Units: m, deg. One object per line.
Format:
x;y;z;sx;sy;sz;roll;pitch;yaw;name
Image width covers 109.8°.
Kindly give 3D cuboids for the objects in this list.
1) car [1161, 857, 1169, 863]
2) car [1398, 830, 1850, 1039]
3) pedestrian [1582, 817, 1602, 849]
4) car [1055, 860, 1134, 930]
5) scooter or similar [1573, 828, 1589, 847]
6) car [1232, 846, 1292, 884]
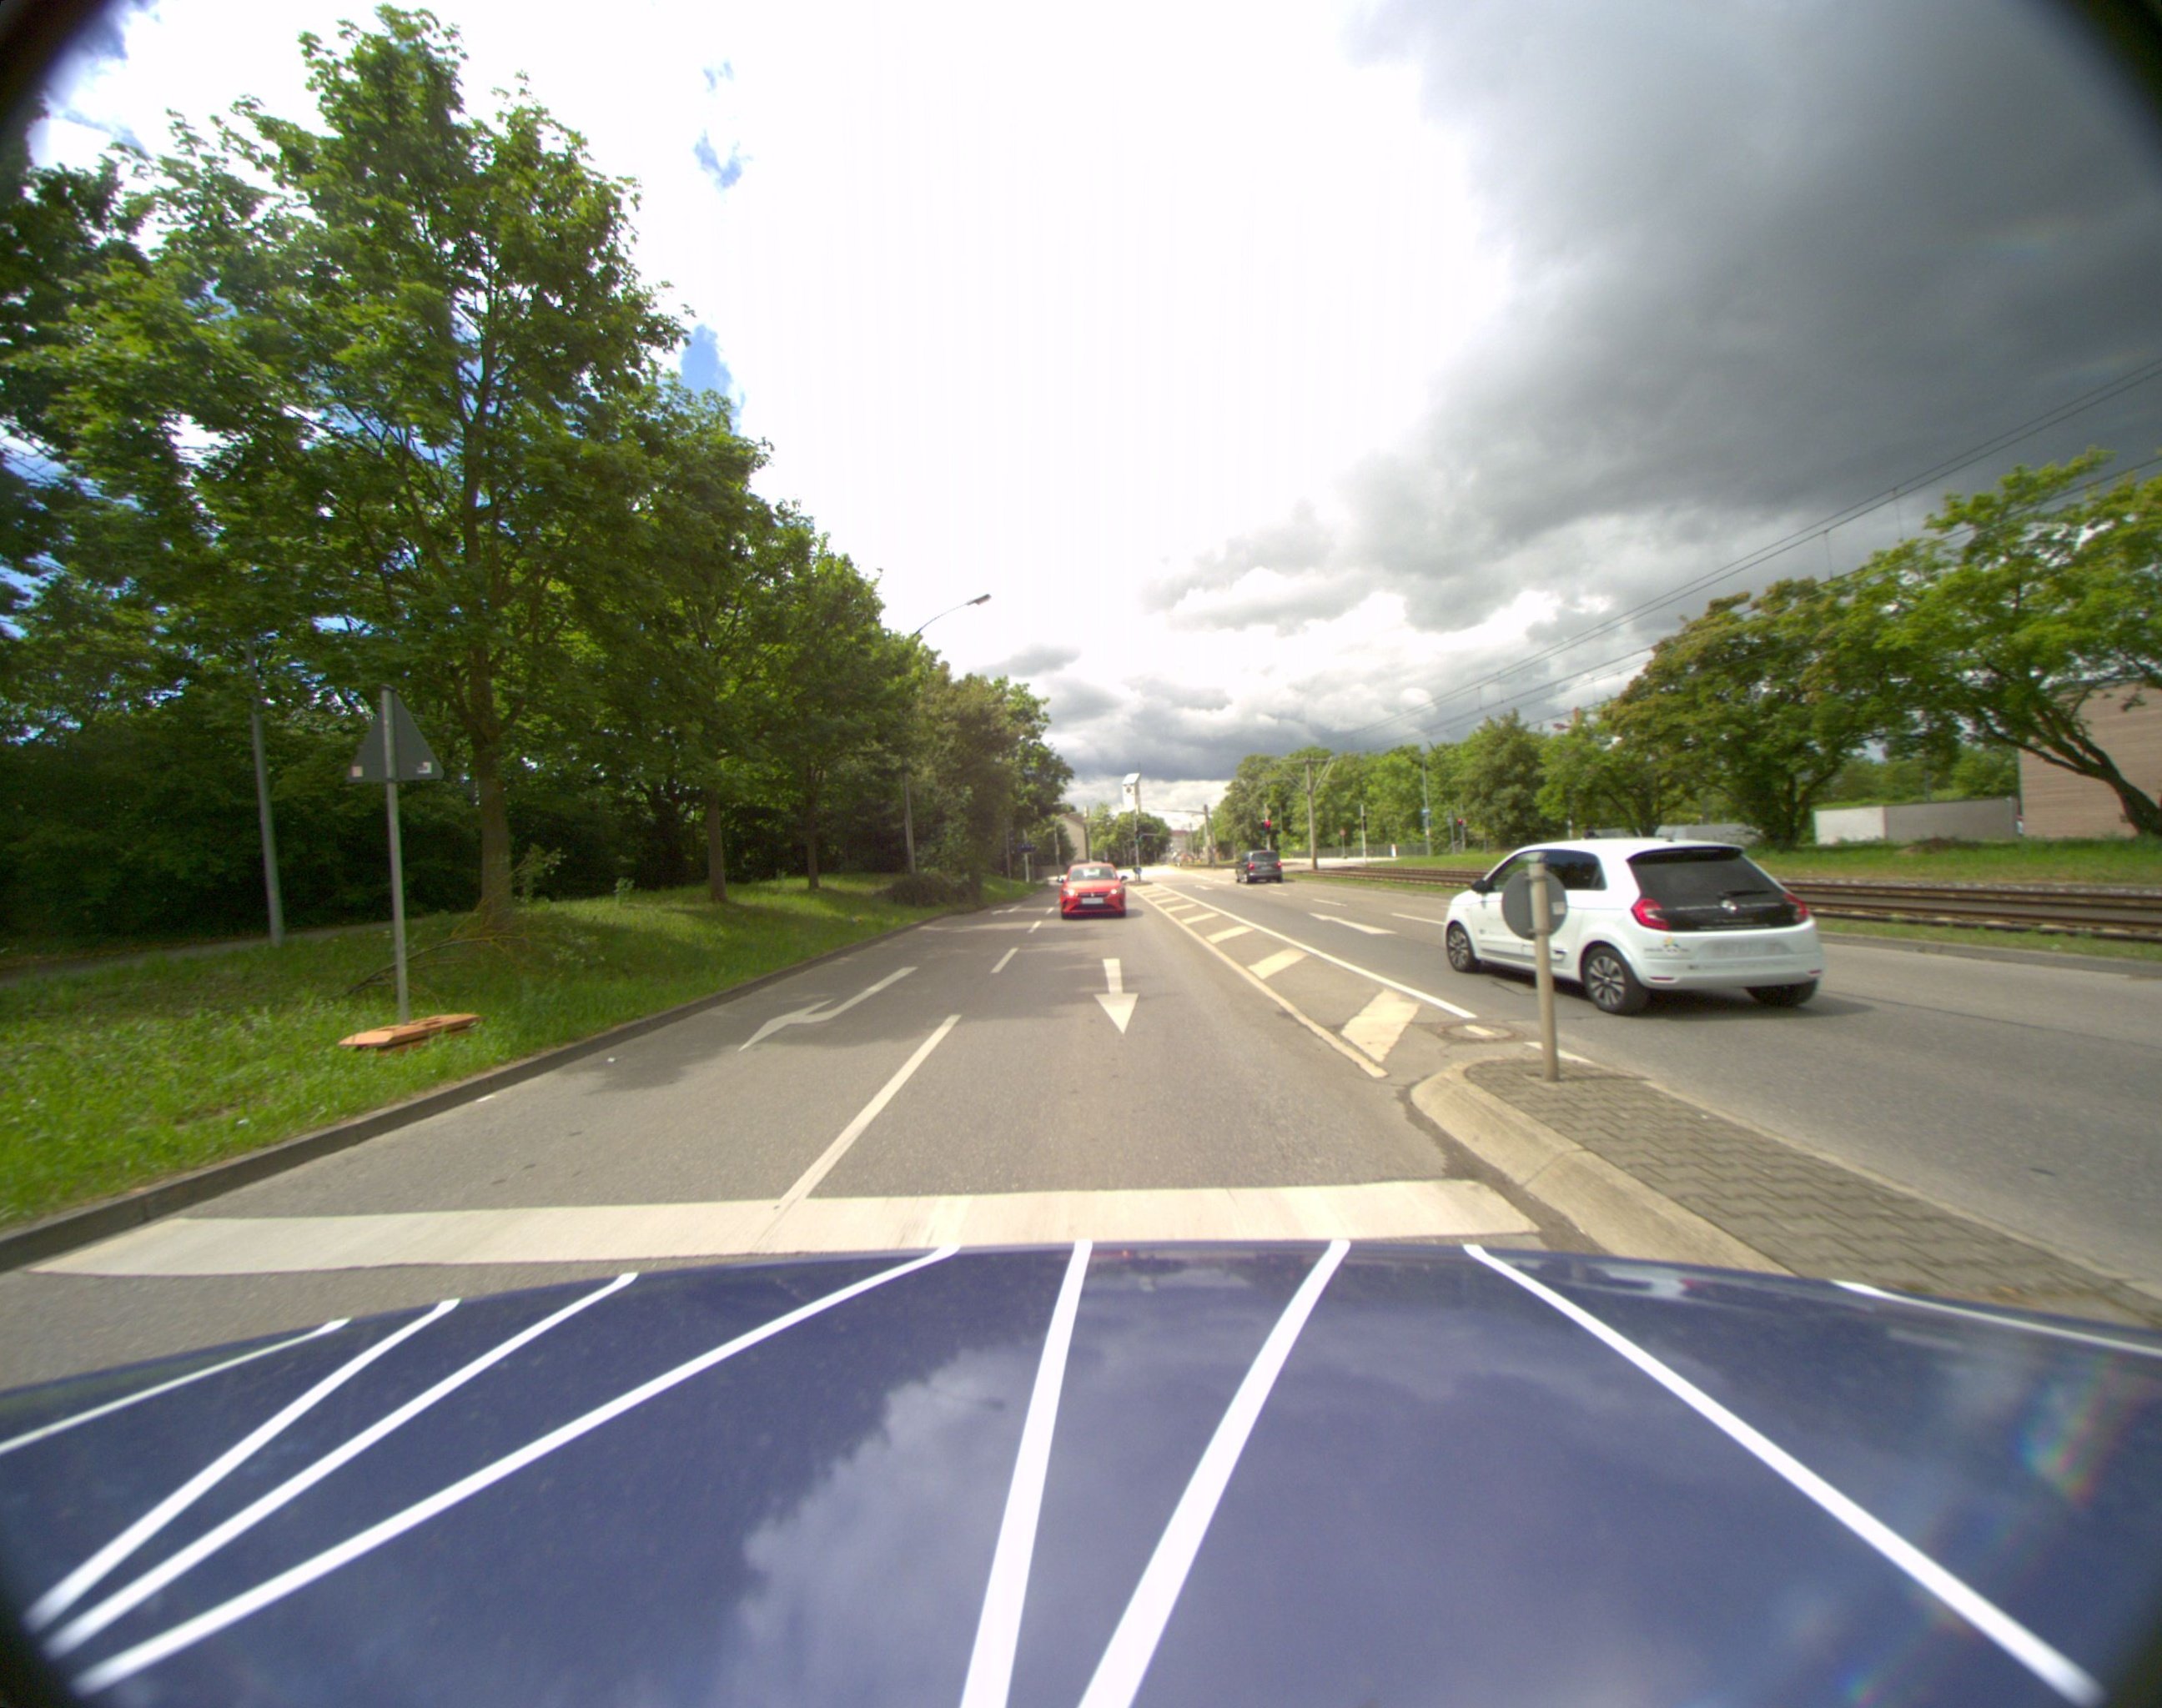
21.005;1.545;190.303;1.789;1.340;4.853;-4;1;5;car
5.180;0.611;8.120;1.733;1.603;4.262;-2;1;-1;car
28.509;-1.178;42.384;0.492;1.713;0.799;-4;1;1;pedestrian
0.335;0.989;20.468;1.790;1.453;4.852;-4;1;1;car
28.462;-0.929;43.230;0.381;1.070;0.717;-4;1;1;scooter or similar
8.996;0.513;38.090;1.998;1.650;4.522;-4;1;2;car
